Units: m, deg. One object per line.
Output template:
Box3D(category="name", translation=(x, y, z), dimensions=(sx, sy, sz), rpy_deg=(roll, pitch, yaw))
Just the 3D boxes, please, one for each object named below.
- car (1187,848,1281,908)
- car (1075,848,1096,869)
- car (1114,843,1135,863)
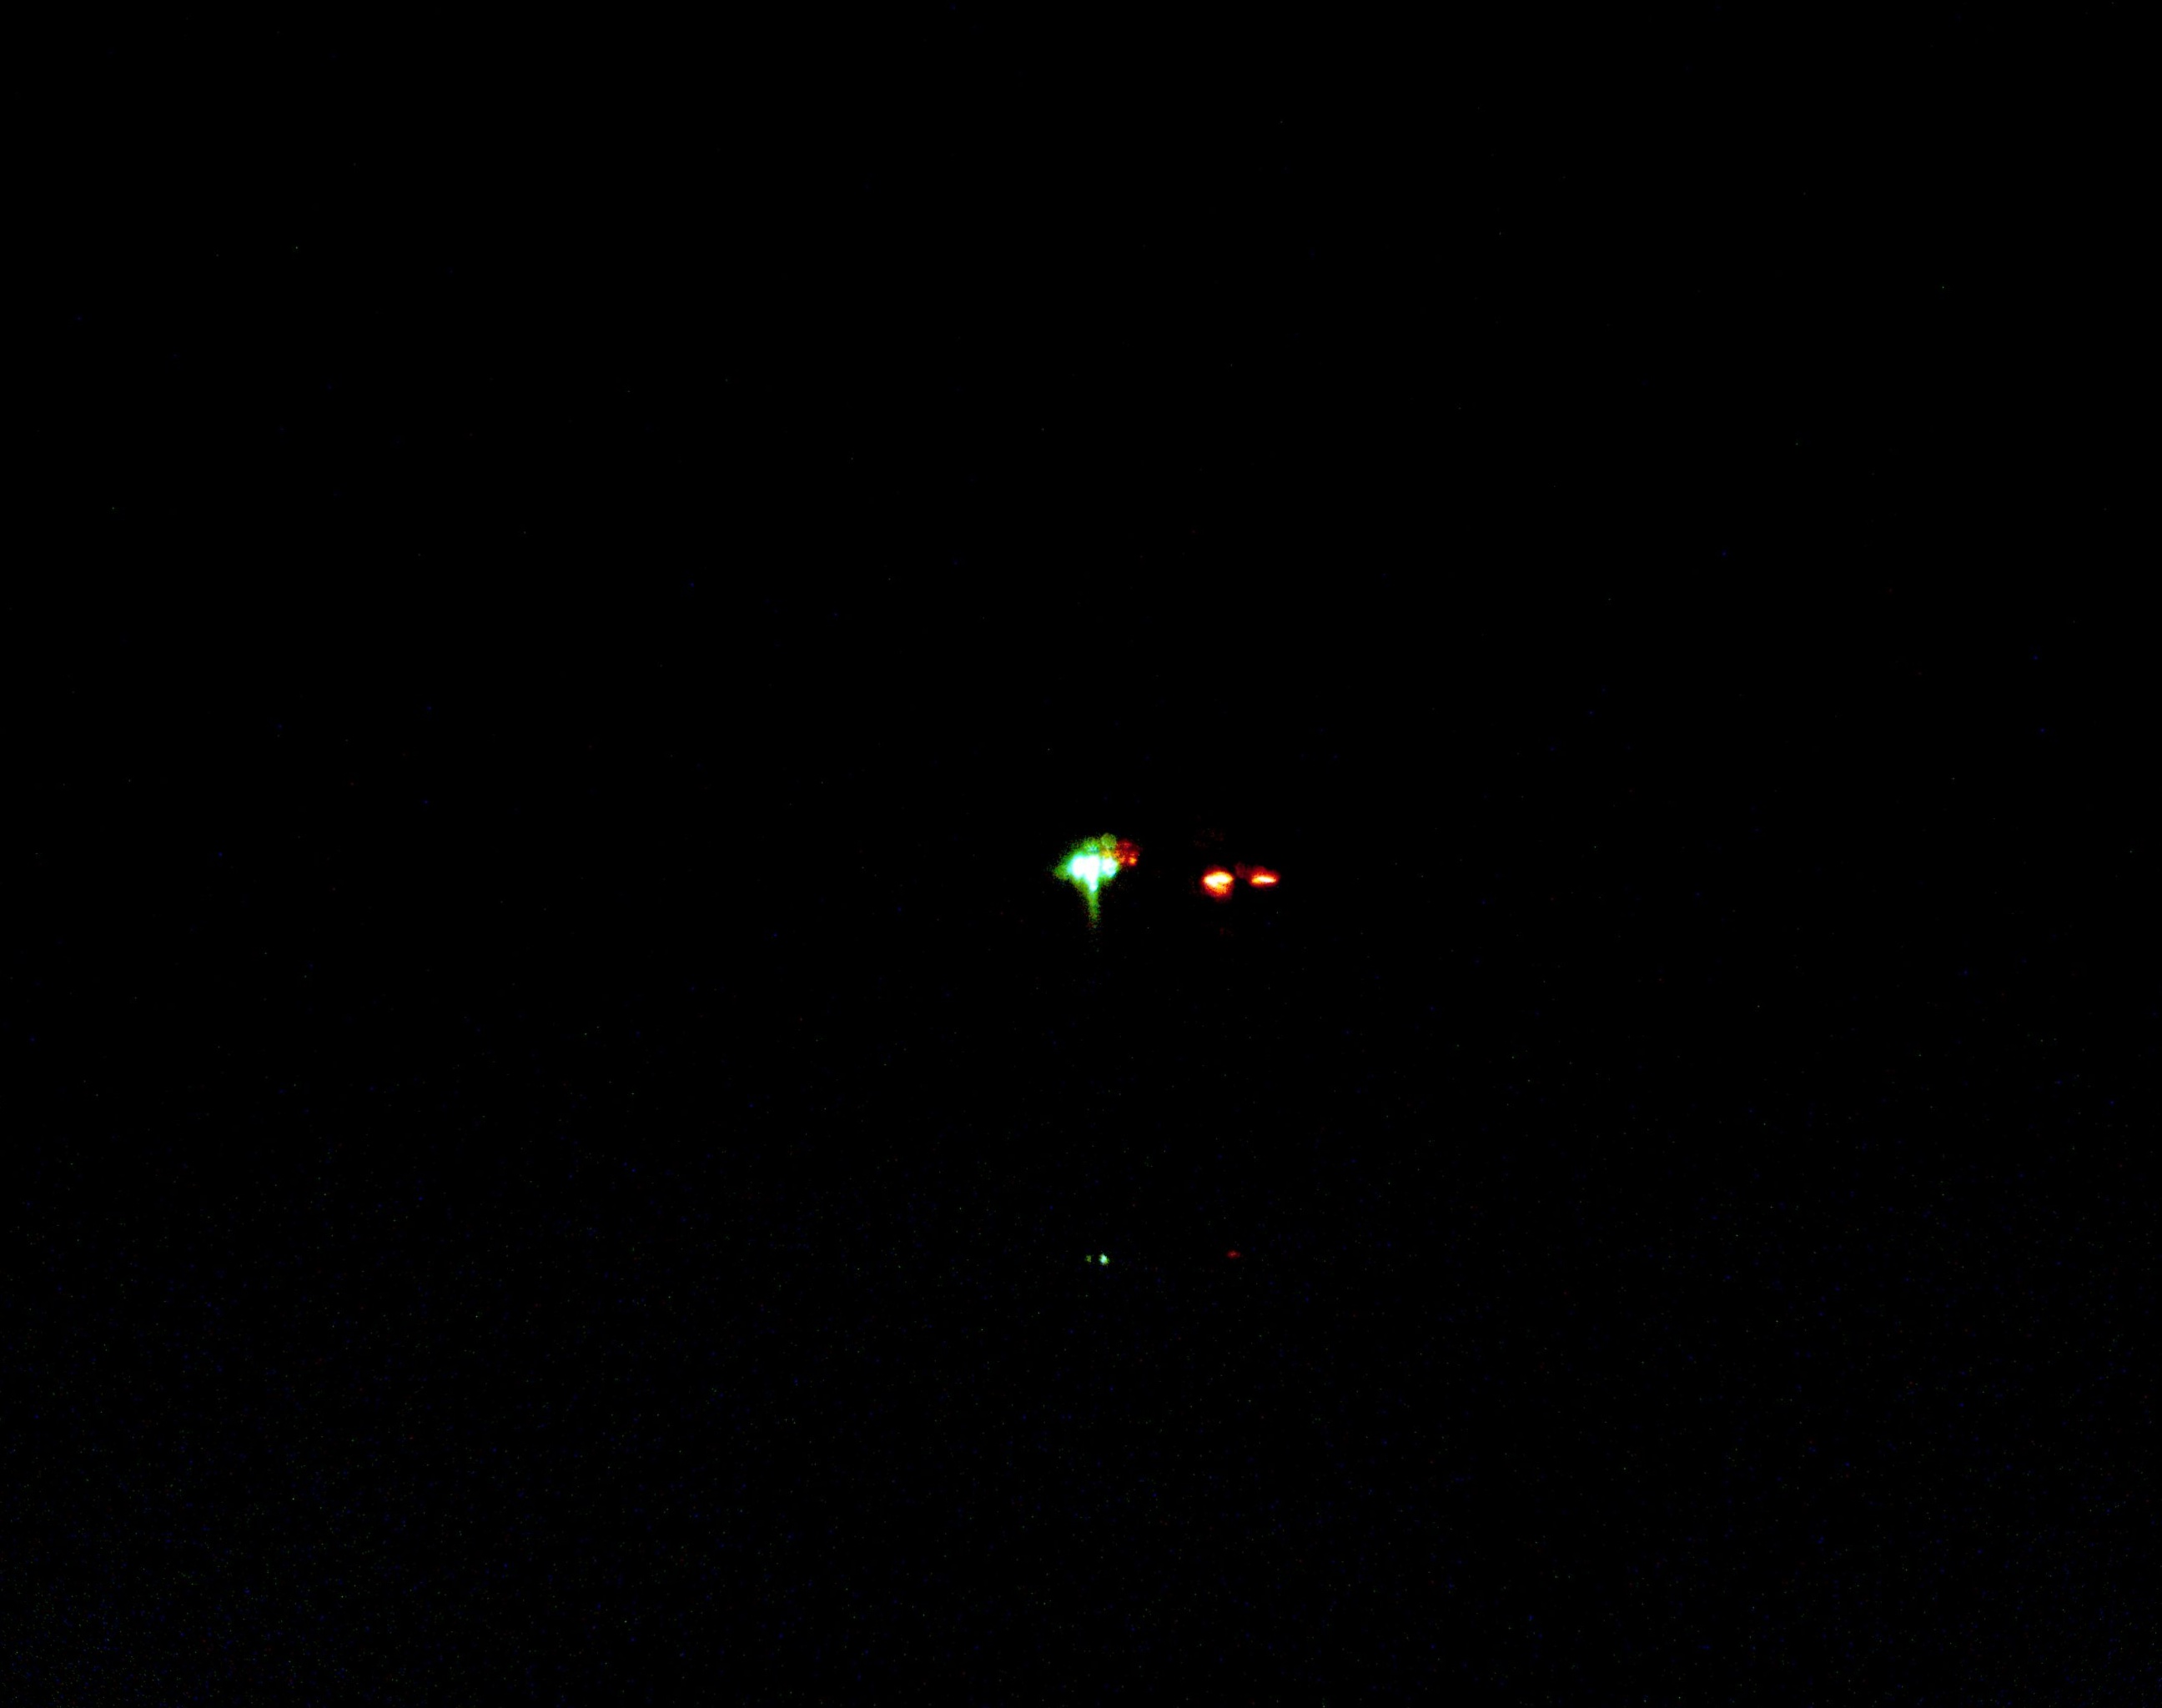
Box3D(category="car", translation=(4.498, 0.655, 22.906), dimensions=(1.998, 1.540, 3.999), rpy_deg=(-3, 1, 1))
Box3D(category="car", translation=(0.517, 0.419, 77.906), dimensions=(1.998, 2.002, 4.000), rpy_deg=(-2, 1, 1))
Box3D(category="car", translation=(4.622, -0.095, 80.429), dimensions=(1.998, 2.002, 4.000), rpy_deg=(-2, 1, 1))
